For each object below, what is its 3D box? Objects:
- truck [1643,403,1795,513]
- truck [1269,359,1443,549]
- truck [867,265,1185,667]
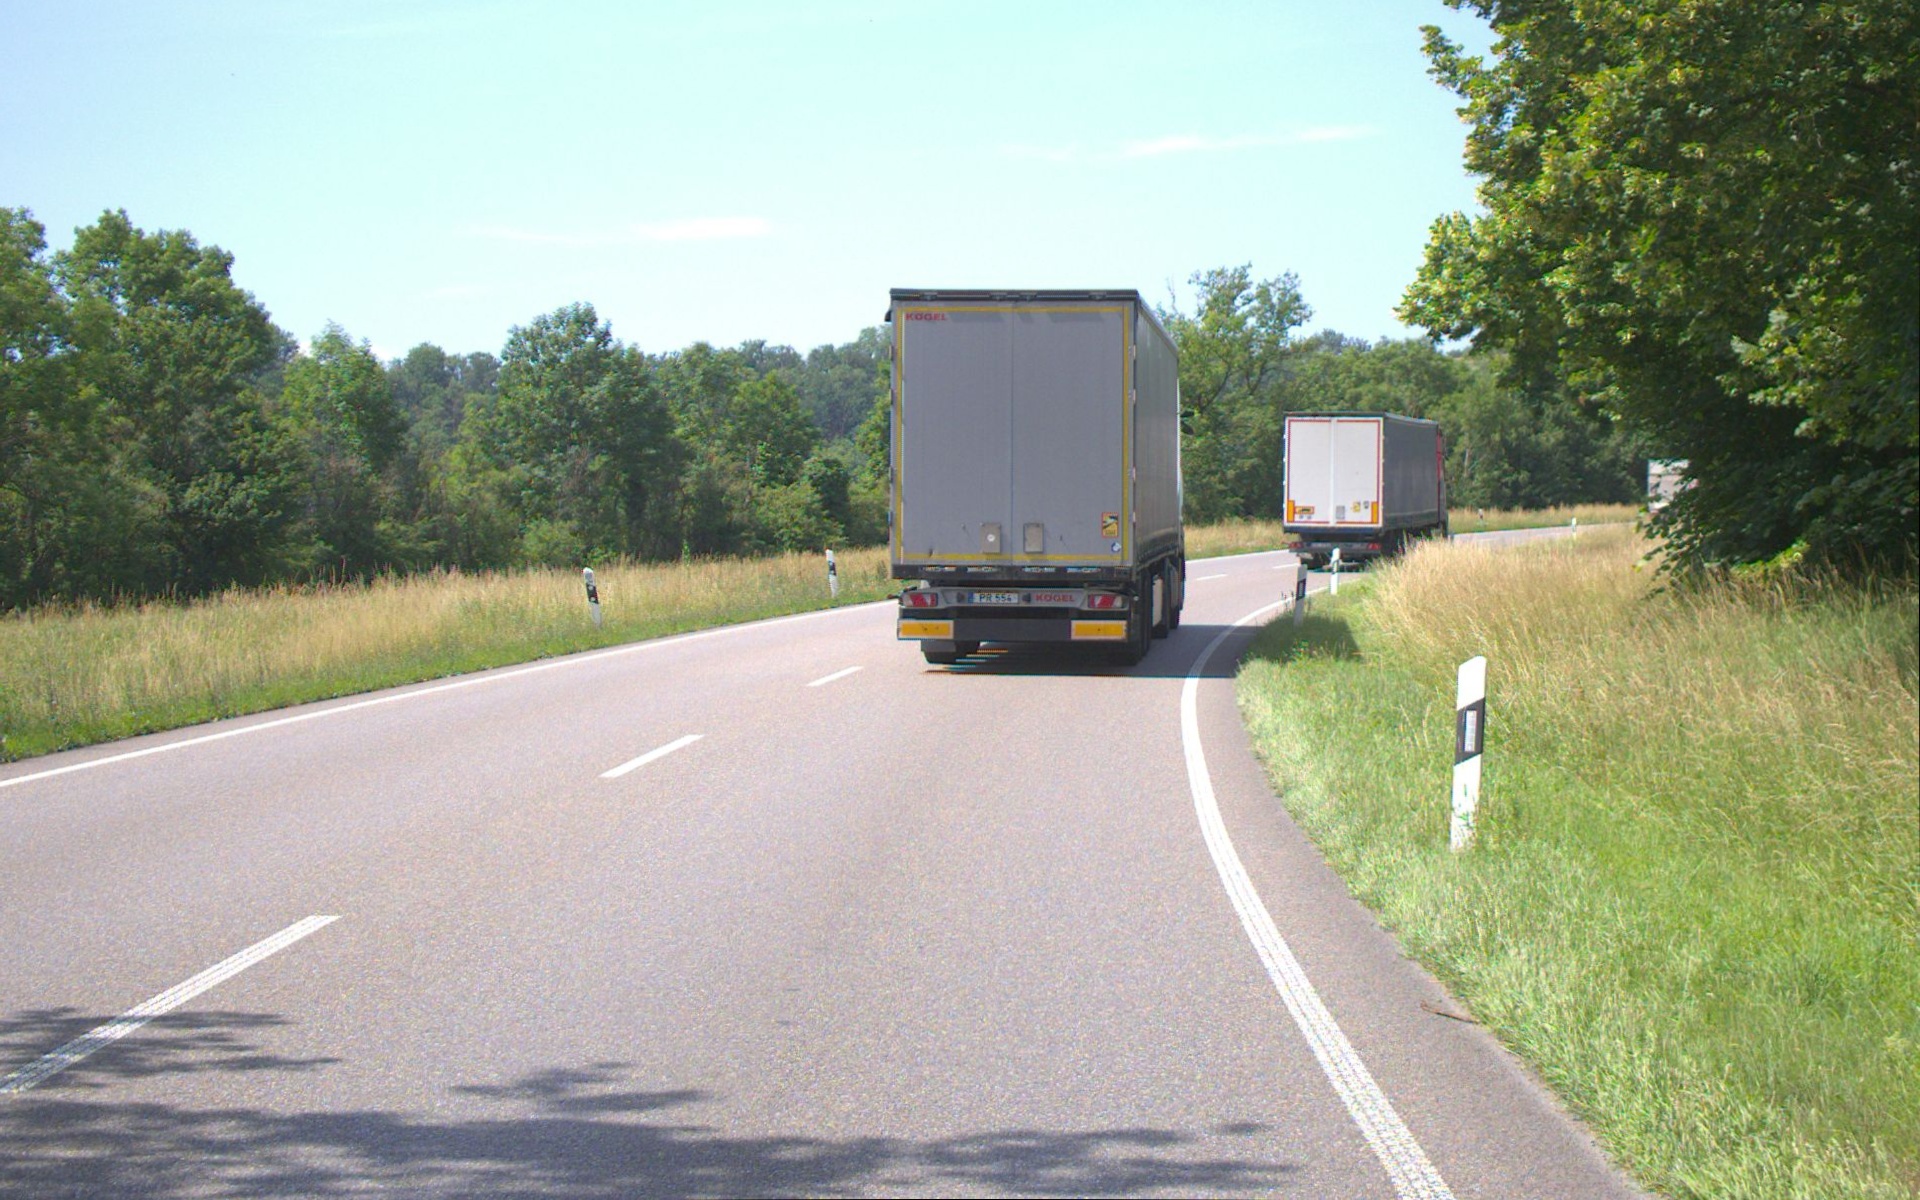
[{"bbox_3d":[34.525,-6.303,155.663,3.109,4.689,16.567,0,1,25],"label":"truck"},{"bbox_3d":[11.048,-3.837,94.227,3.106,4.689,16.581,0,1,12],"label":"truck"},{"bbox_3d":[1.168,-1.534,42.669,2.802,4.054,15.323,1,1,5],"label":"truck"}]
